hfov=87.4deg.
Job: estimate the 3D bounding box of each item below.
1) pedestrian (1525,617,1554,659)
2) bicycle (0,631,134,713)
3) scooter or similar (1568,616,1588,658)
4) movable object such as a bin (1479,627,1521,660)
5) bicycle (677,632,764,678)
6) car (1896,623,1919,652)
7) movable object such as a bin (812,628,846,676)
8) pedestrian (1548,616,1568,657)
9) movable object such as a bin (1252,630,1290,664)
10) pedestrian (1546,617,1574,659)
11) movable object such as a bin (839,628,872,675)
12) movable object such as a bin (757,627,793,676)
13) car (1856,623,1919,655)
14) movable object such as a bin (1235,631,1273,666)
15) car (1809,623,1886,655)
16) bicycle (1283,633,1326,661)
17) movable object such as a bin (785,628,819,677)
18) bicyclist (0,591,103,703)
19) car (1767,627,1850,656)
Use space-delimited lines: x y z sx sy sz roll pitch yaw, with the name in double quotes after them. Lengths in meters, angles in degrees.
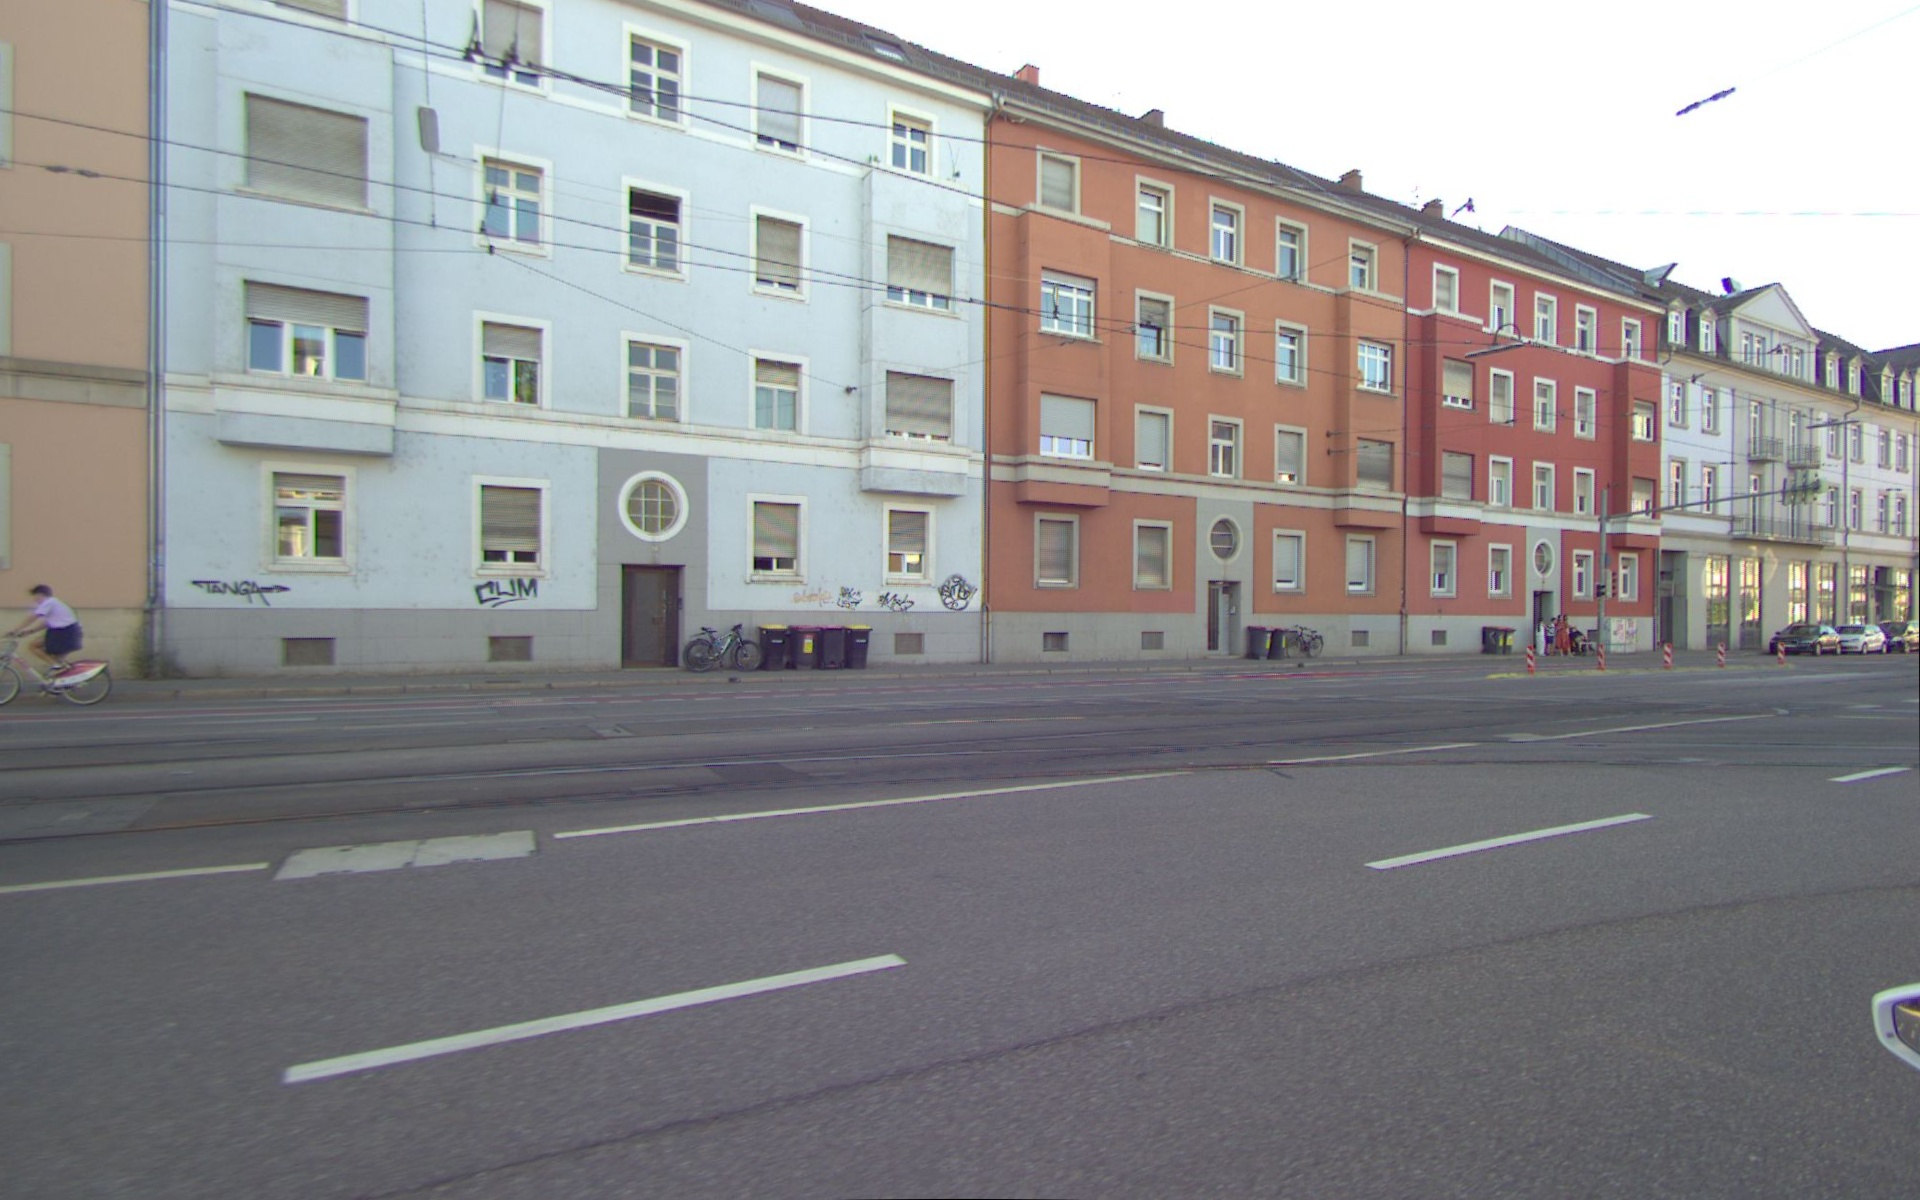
22.916 1.493 39.721 0.643 1.655 0.794 1 0 -11 "pedestrian"
-14.114 1.086 15.392 2.127 1.206 0.743 1 -1 -30 "bicycle"
24.824 1.486 40.351 0.642 1.655 0.794 1 0 28 "scooter or similar"
20.792 1.670 38.662 1.216 1.266 0.868 1 -1 -24 "movable object such as a bin"
-5.526 1.258 23.186 1.855 0.993 0.602 2 0 -31 "bicycle"
53.414 2.064 55.160 4.224 1.572 1.826 1 -1 -30 "car"
-3.196 1.261 24.523 0.576 1.121 0.699 1 0 -30 "movable object such as a bin"
24.225 1.464 40.674 0.642 1.655 0.794 1 0 28 "pedestrian"
9.966 1.513 32.204 0.803 1.054 0.838 1 -1 -34 "movable object such as a bin"
23.698 1.493 39.687 0.815 1.655 0.795 1 0 22 "pedestrian"
-2.598 1.276 24.908 0.576 1.121 0.699 1 0 -30 "movable object such as a bin"
-4.382 1.214 23.814 0.641 1.121 0.699 1 0 -30 "movable object such as a bin"
47.787 1.994 51.512 3.811 1.572 1.711 1 -1 -30 "car"
9.278 1.518 31.690 0.803 1.054 0.838 1 -1 -34 "movable object such as a bin"
43.480 1.881 49.191 3.953 1.471 1.711 1 -1 -30 "car"
11.461 1.561 33.390 1.583 0.902 0.333 1 -1 -26 "bicycle"
-3.795 1.251 24.113 0.576 1.121 0.699 1 0 -30 "movable object such as a bin"
-14.013 0.707 15.452 1.112 1.664 0.743 1 -1 -30 "bicyclist"
38.910 1.877 46.058 3.953 1.249 1.711 1 -1 -30 "car"
